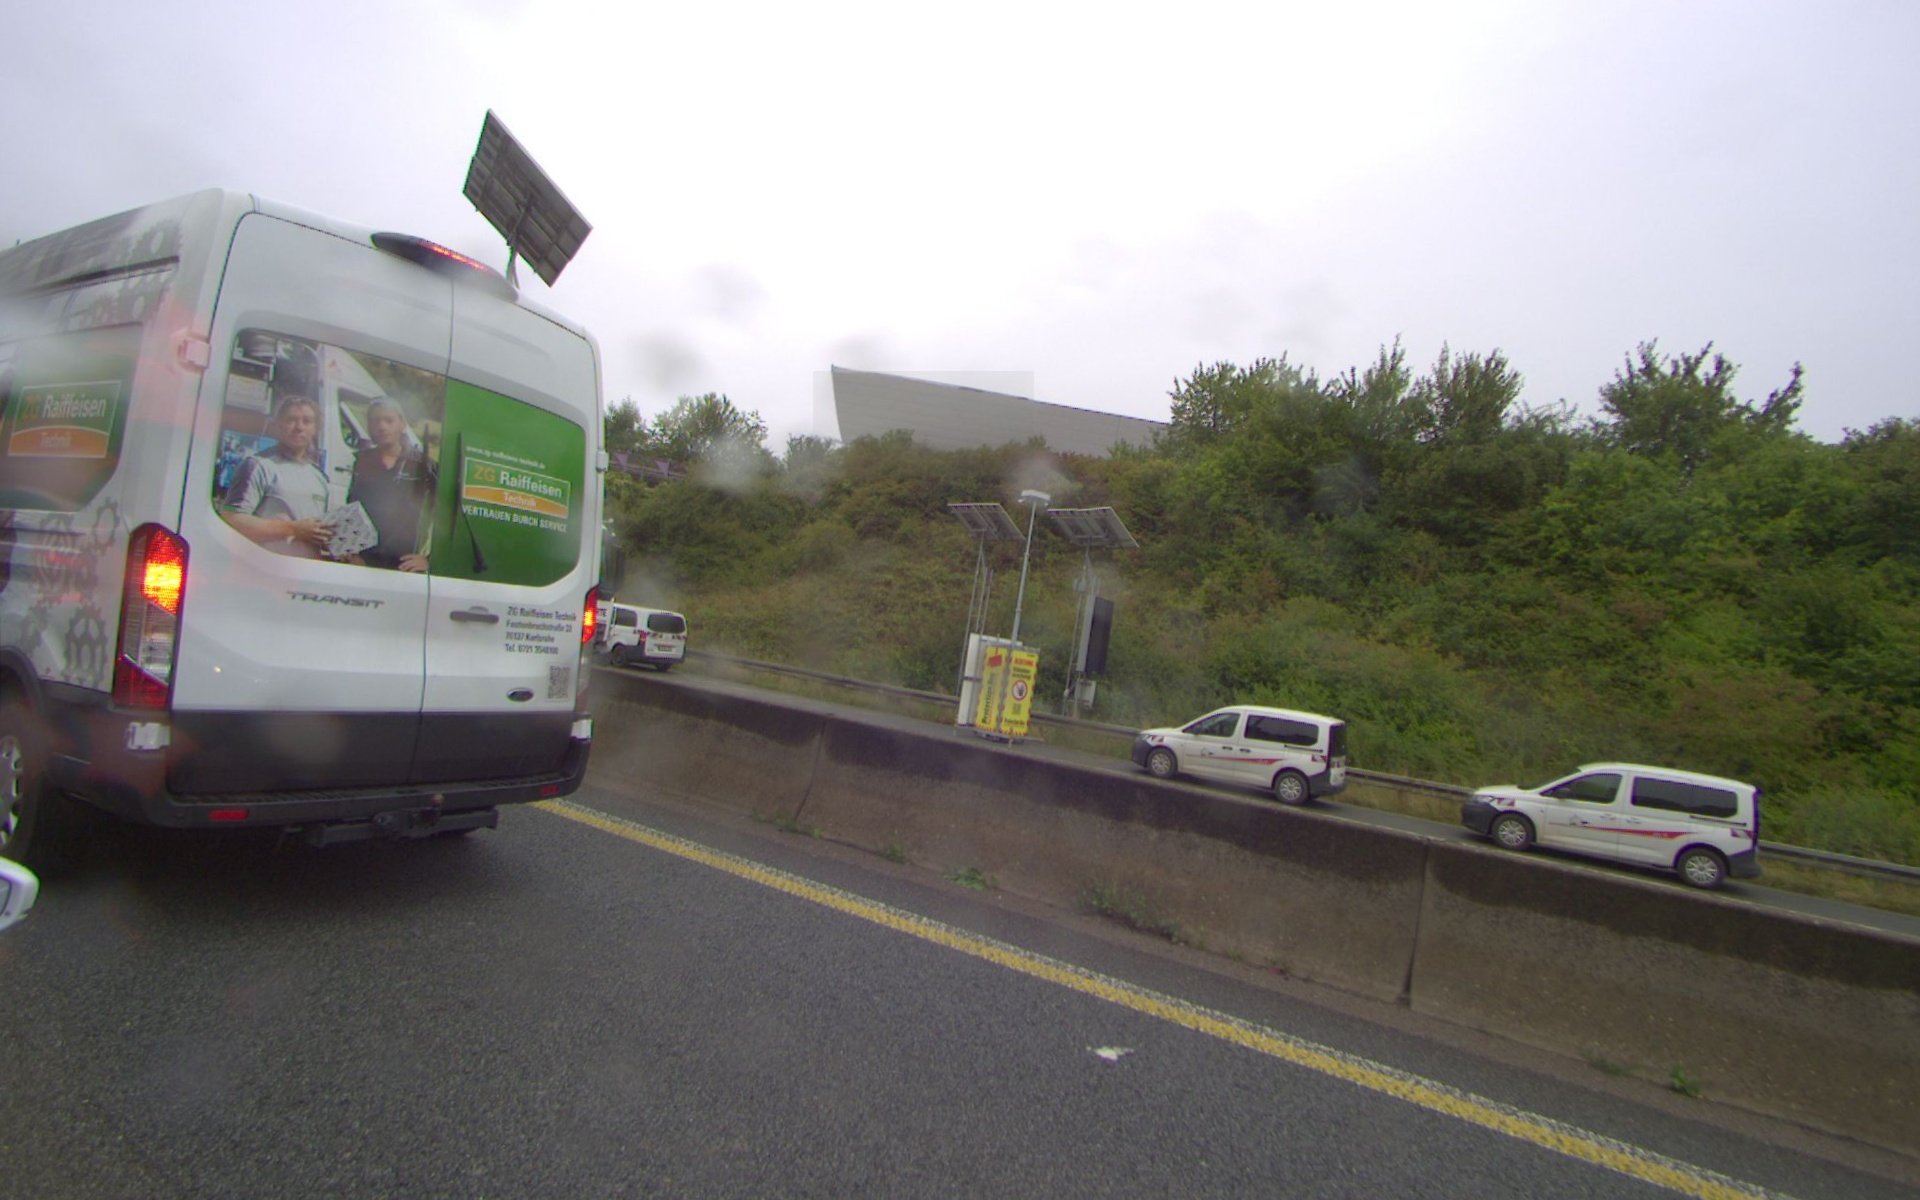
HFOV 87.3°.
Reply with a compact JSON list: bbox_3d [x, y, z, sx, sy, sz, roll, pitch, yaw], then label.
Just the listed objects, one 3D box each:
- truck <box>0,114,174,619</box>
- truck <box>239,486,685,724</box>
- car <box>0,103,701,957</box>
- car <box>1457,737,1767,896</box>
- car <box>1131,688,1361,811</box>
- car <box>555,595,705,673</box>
[{"bbox_3d":[-20.004,-3.711,16.728,20.041,5.740,3.986,6,-1,32],"label":"truck"},{"bbox_3d":[-9.157,-0.080,17.916,8.968,3.168,2.525,6,-1,32],"label":"truck"},{"bbox_3d":[-4.545,-0.399,5.660,6.015,2.707,2.148,6,-1,31],"label":"car"},{"bbox_3d":[11.297,3.684,17.770,4.257,1.790,1.732,6,-2,31],"label":"car"},{"bbox_3d":[5.968,3.045,21.144,4.197,1.778,1.732,6,-2,31],"label":"car"},{"bbox_3d":[-10.492,1.056,31.883,4.652,1.850,1.945,6,-2,34],"label":"car"}]
